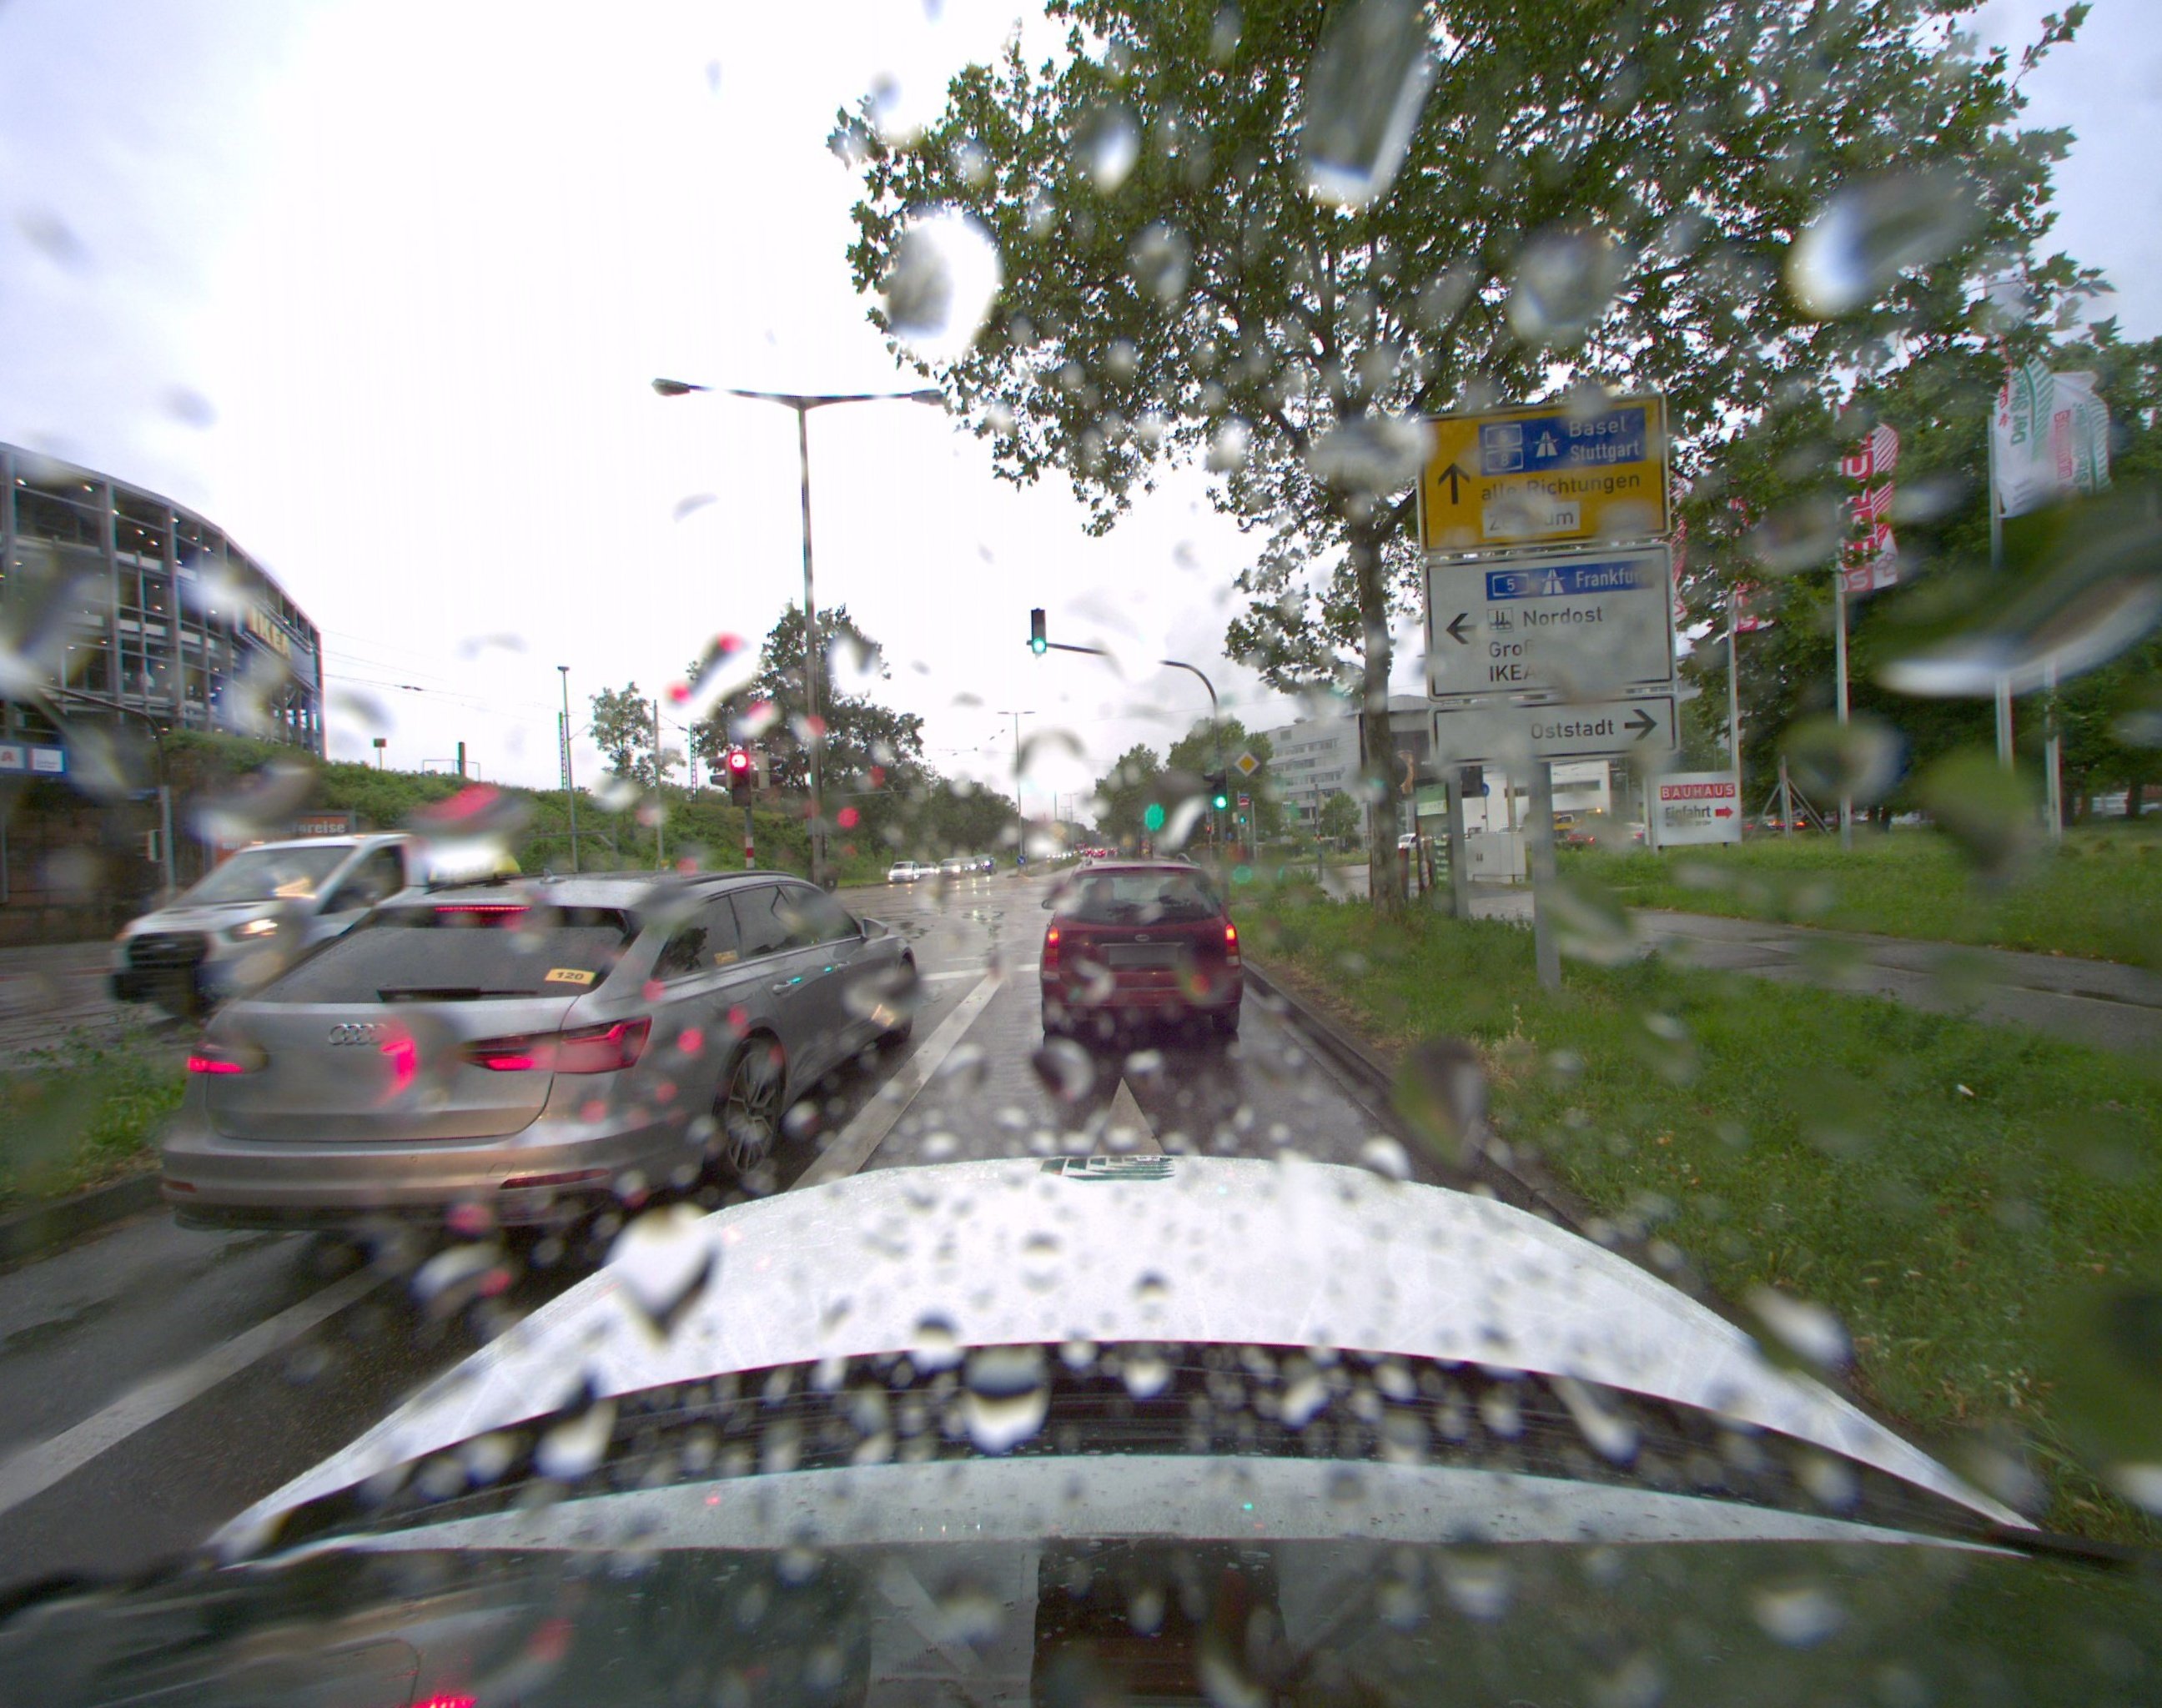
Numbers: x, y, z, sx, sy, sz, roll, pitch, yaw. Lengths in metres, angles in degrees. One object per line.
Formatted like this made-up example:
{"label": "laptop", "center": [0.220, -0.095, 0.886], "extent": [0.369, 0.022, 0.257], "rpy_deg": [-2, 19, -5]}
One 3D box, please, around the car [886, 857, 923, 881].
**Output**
{"label": "car", "center": [-11.984, 0.978, 55.496], "extent": [1.633, 1.452, 3.786], "rpy_deg": [-3, 0, 0]}

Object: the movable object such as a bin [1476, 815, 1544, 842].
{"label": "movable object such as a bin", "center": [53.771, -3.144, 102.170], "extent": [3.342, 2.995, 6.650], "rpy_deg": [-3, 0, -34]}

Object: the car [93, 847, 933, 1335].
{"label": "car", "center": [-2.287, 0.758, 5.060], "extent": [1.763, 1.574, 4.822], "rpy_deg": [0, 0, 1]}

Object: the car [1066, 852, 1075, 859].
{"label": "car", "center": [-2.765, 0.422, 208.416], "extent": [1.955, 1.702, 4.286], "rpy_deg": [-3, 0, 2]}

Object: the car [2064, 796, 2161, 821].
{"label": "car", "center": [88.537, -3.873, 69.316], "extent": [2.286, 1.731, 5.899], "rpy_deg": [-3, 0, -33]}

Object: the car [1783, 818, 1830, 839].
{"label": "car", "center": [62.670, -2.208, 70.297], "extent": [4.645, 1.586, 1.907], "rpy_deg": [-2, -1, -34]}

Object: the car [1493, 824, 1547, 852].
{"label": "car", "center": [35.942, -1.332, 66.610], "extent": [4.709, 2.125, 1.978], "rpy_deg": [-2, -1, -36]}

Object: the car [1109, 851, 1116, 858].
{"label": "car", "center": [7.825, 0.076, 202.896], "extent": [1.664, 1.528, 3.849], "rpy_deg": [-3, 0, 3]}

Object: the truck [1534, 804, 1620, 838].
{"label": "truck", "center": [57.970, -3.797, 95.388], "extent": [3.342, 3.507, 7.806], "rpy_deg": [-3, 0, -33]}

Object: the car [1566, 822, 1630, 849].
{"label": "car", "center": [31.140, -1.112, 49.050], "extent": [3.828, 1.491, 1.662], "rpy_deg": [-2, 0, -30]}

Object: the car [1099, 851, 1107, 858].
{"label": "car", "center": [5.214, 0.137, 194.347], "extent": [1.691, 1.528, 3.849], "rpy_deg": [-3, 0, 3]}

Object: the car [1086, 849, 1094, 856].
{"label": "car", "center": [2.300, -0.344, 202.851], "extent": [1.691, 1.528, 3.849], "rpy_deg": [-3, 0, 3]}

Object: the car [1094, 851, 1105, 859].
{"label": "car", "center": [3.970, 0.254, 178.815], "extent": [2.138, 1.528, 4.197], "rpy_deg": [-3, 0, 4]}

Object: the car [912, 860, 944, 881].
{"label": "car", "center": [-11.576, 1.230, 61.876], "extent": [1.585, 1.404, 3.823], "rpy_deg": [-3, 0, 1]}

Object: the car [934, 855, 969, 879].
{"label": "car", "center": [-8.949, 0.880, 56.530], "extent": [1.632, 1.473, 3.966], "rpy_deg": [-3, 0, 1]}

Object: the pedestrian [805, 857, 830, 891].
{"label": "pedestrian", "center": [-14.952, 1.109, 46.208], "extent": [1.102, 1.847, 1.126], "rpy_deg": [-3, 0, -10]}

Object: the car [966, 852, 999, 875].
{"label": "car", "center": [-8.619, 0.771, 71.783], "extent": [2.058, 1.819, 5.542], "rpy_deg": [-3, 0, 1]}

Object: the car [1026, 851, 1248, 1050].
{"label": "car", "center": [0.447, 0.711, 7.918], "extent": [1.636, 1.465, 3.733], "rpy_deg": [0, 0, 1]}

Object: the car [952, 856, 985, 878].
{"label": "car", "center": [-8.745, 1.002, 63.647], "extent": [1.756, 1.586, 4.813], "rpy_deg": [-3, -1, 0]}

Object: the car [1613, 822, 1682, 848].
{"label": "car", "center": [37.102, -1.256, 53.308], "extent": [4.847, 1.491, 1.908], "rpy_deg": [-2, -1, -32]}

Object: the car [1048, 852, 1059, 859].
{"label": "car", "center": [-6.480, 0.395, 189.671], "extent": [2.084, 1.528, 4.197], "rpy_deg": [-3, 0, 4]}

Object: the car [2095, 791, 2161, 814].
{"label": "car", "center": [82.892, -4.042, 63.551], "extent": [1.937, 1.586, 4.571], "rpy_deg": [-2, -1, -40]}

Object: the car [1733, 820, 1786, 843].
{"label": "car", "center": [53.435, -1.796, 64.123], "extent": [4.644, 1.586, 1.907], "rpy_deg": [-3, 0, -34]}

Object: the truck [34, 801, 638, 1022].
{"label": "truck", "center": [-10.185, 0.635, 12.480], "extent": [2.462, 2.365, 6.877], "rpy_deg": [-3, 0, 5]}

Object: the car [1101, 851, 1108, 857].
{"label": "car", "center": [6.597, 0.072, 230.629], "extent": [1.662, 1.528, 3.853], "rpy_deg": [-3, 0, 6]}
